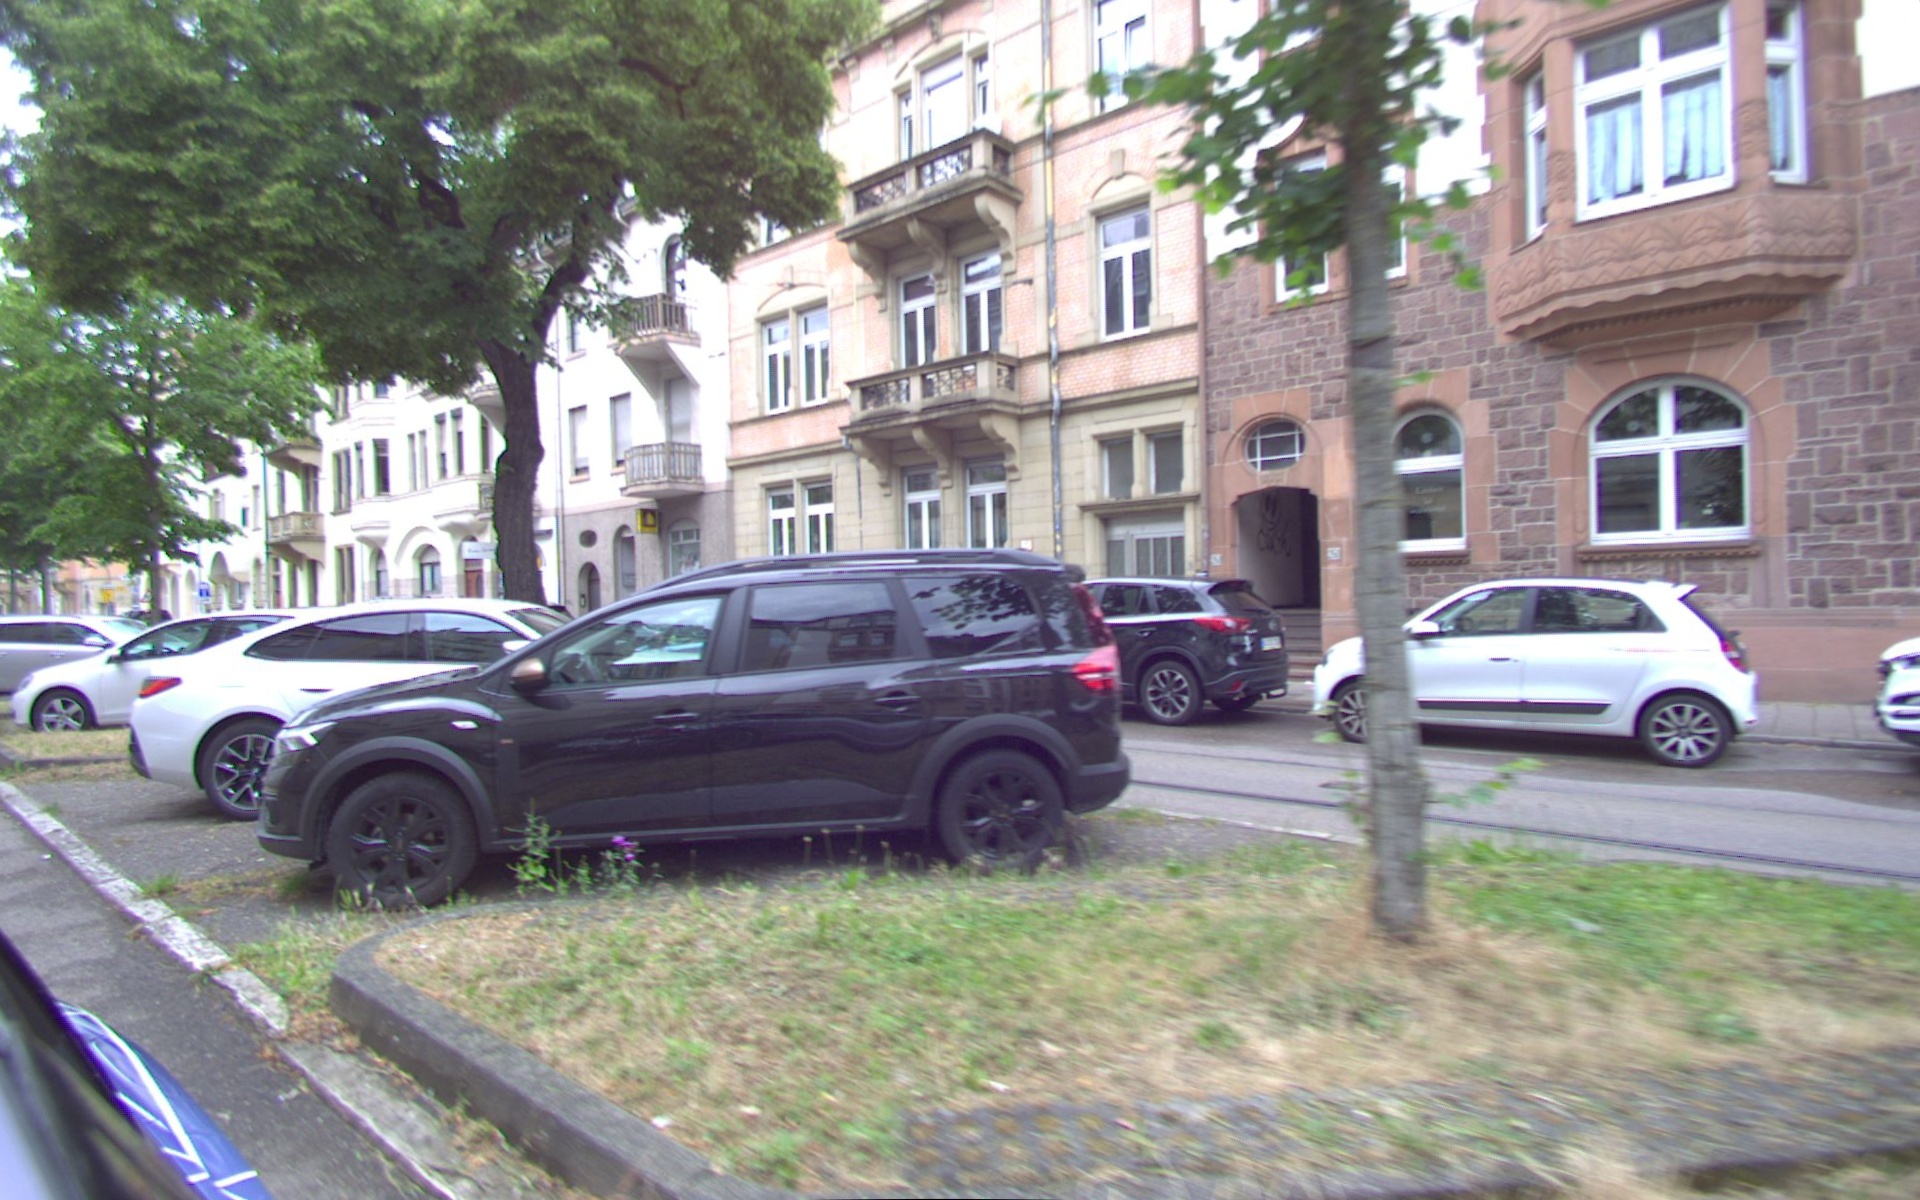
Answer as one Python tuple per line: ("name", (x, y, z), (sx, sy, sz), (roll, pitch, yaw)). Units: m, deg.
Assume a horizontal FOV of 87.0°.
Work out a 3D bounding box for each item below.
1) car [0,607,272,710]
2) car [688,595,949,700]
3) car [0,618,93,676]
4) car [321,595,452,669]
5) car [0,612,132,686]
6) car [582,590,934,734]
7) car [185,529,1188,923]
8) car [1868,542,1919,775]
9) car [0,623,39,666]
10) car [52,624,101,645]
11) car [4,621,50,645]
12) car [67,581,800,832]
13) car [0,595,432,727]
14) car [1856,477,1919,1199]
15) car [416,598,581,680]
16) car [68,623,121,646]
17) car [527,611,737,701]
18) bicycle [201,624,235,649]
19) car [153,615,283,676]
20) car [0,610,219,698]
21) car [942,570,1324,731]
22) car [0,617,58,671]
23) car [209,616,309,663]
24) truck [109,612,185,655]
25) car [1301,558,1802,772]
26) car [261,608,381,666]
("car", (-14.602, 0.967, 17.175), (4.497, 1.504, 1.865), (-2, 1, -3))
("car", (-2.361, 0.688, 16.285), (4.227, 1.449, 1.786), (-1, 0, 40))
("car", (-27.180, 1.339, 28.843), (3.374, 1.538, 1.693), (-1, 1, -7))
("car", (-16.143, 0.874, 28.407), (4.429, 1.885, 1.831), (-2, 0, 41))
("car", (-22.470, 1.157, 23.967), (4.140, 1.621, 1.728), (-1, 1, -8))
("car", (-2.659, 0.664, 12.620), (4.649, 1.464, 1.786), (-1, 0, 40))
("car", (-1.243, 0.534, 5.509), (4.463, 1.645, 1.767), (-1, 0, -5))
("car", (8.885, 0.363, 6.426), (4.550, 1.638, 1.723), (-1, 0, 40))
("car", (-35.725, 1.648, 35.737), (4.539, 1.477, 1.887), (-2, 0, -3))
("car", (-52.641, 2.057, 60.278), (3.377, 1.185, 1.619), (-2, 0, 39))
("car", (-66.577, 2.329, 72.198), (4.508, 1.617, 1.773), (-2, 0, 39))
("car", (-3.544, 0.670, 7.658), (4.472, 1.501, 2.038), (-1, 0, -5))
("car", (-9.004, 0.677, 12.400), (4.066, 1.322, 1.866), (-2, 1, -6))
("car", (3.598, 0.463, 0.718), (4.596, 1.378, 1.760), (-2, 0, -6))
("car", (-10.693, 0.850, 23.330), (4.270, 1.692, 1.786), (-1, 0, 40))
("car", (-48.417, 1.925, 56.594), (3.377, 1.185, 1.619), (-2, 0, 39))
("car", (-6.381, 0.995, 19.454), (4.384, 1.501, 1.786), (-1, 0, 40))
("bicycle", (-37.294, 1.839, 50.863), (1.908, 1.135, 0.607), (-2, 2, 29))
("car", (-20.140, 1.169, 27.407), (4.649, 1.464, 1.786), (-1, 0, 40))
("car", (-16.730, 1.005, 19.217), (3.940, 1.496, 1.778), (-2, 0, -4))
("car", (1.984, 0.525, 12.393), (4.317, 1.640, 1.751), (-1, 0, 40))
("car", (-30.050, 1.411, 30.688), (3.756, 1.538, 1.677), (-3, 1, -4))
("car", (-25.225, 1.391, 36.367), (4.189, 1.534, 1.833), (-2, 0, 39))
("truck", (-38.720, 1.567, 48.130), (6.066, 1.870, 2.121), (-2, 0, 45))
("car", (5.274, 0.485, 9.274), (3.720, 1.571, 1.645), (-1, 0, 40))
("car", (-20.217, 1.154, 31.962), (4.488, 1.672, 1.833), (-2, 0, 39))
